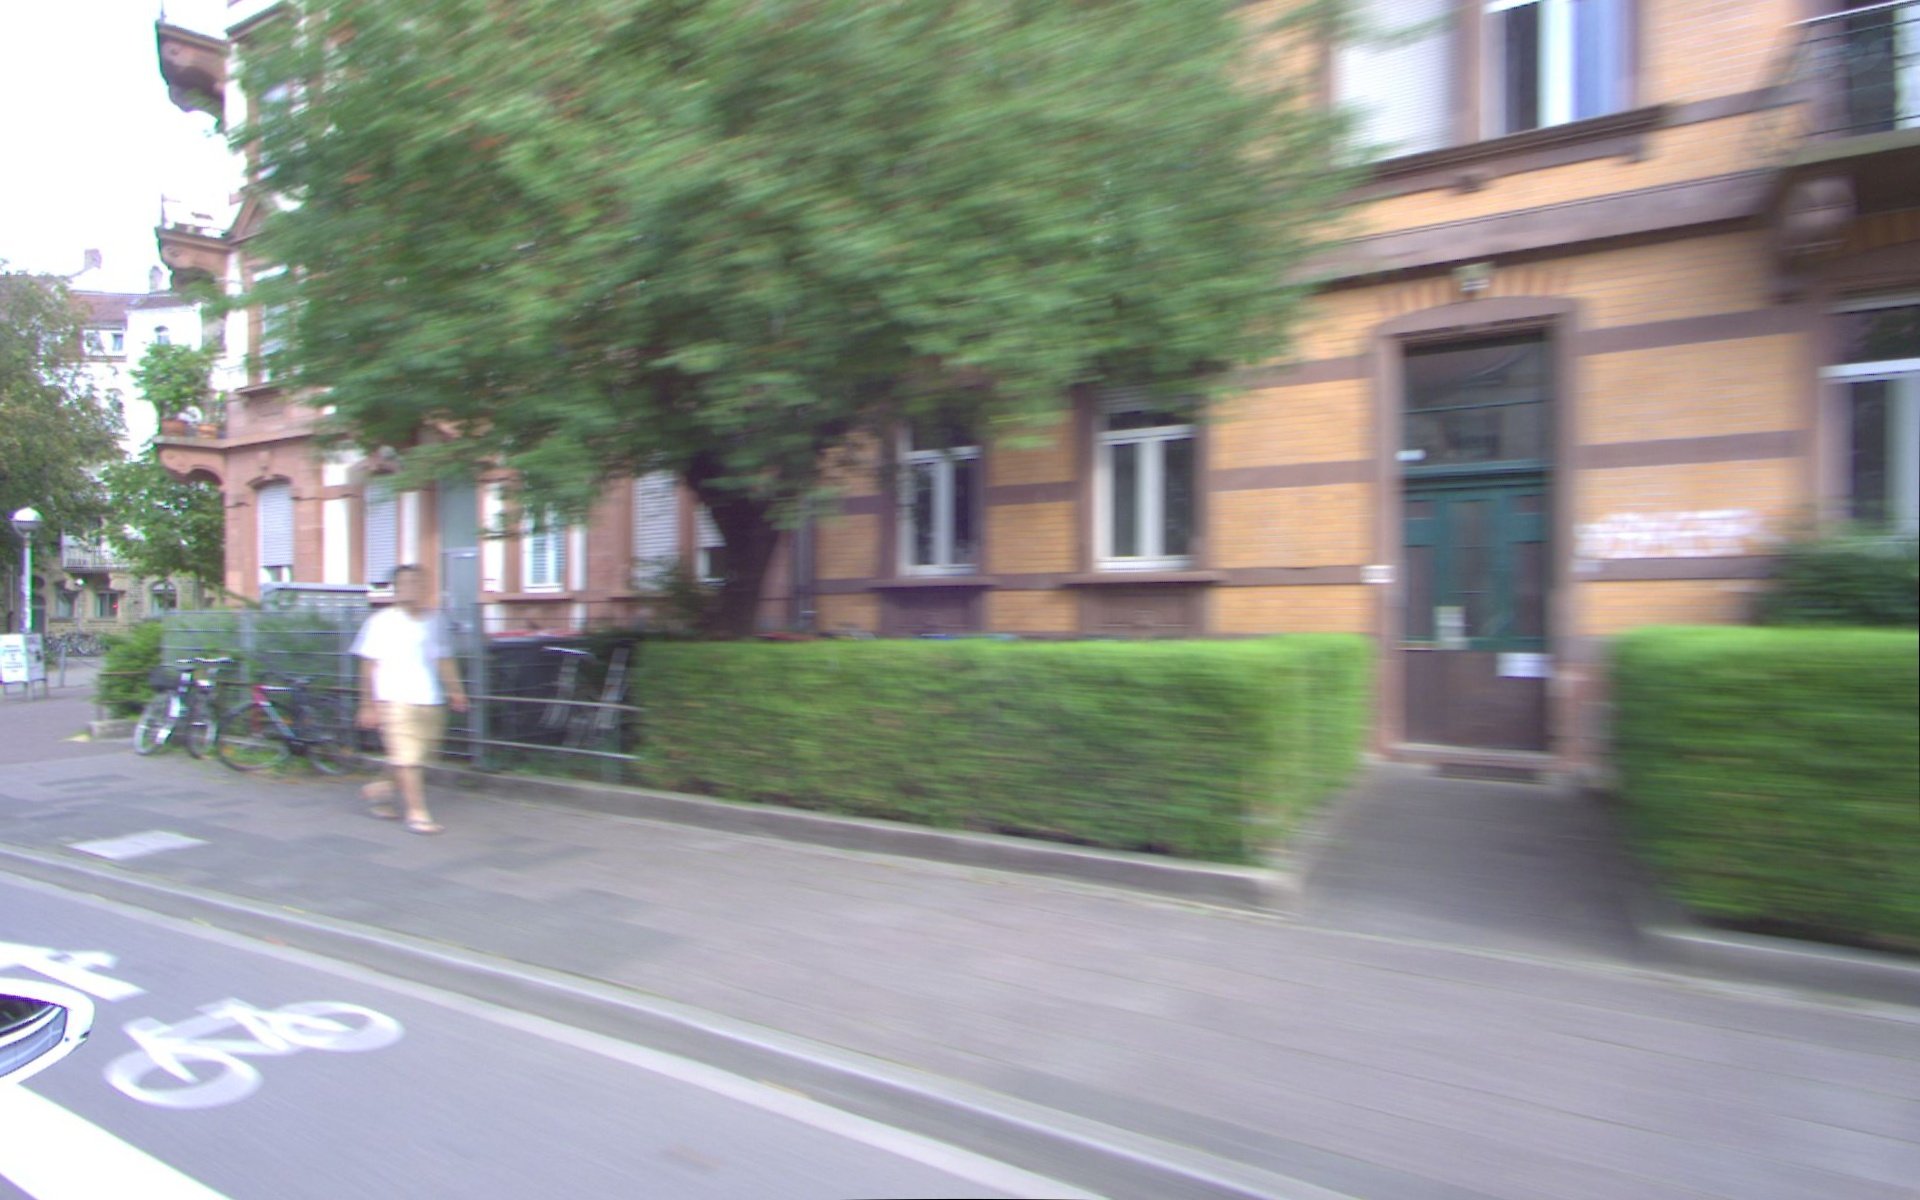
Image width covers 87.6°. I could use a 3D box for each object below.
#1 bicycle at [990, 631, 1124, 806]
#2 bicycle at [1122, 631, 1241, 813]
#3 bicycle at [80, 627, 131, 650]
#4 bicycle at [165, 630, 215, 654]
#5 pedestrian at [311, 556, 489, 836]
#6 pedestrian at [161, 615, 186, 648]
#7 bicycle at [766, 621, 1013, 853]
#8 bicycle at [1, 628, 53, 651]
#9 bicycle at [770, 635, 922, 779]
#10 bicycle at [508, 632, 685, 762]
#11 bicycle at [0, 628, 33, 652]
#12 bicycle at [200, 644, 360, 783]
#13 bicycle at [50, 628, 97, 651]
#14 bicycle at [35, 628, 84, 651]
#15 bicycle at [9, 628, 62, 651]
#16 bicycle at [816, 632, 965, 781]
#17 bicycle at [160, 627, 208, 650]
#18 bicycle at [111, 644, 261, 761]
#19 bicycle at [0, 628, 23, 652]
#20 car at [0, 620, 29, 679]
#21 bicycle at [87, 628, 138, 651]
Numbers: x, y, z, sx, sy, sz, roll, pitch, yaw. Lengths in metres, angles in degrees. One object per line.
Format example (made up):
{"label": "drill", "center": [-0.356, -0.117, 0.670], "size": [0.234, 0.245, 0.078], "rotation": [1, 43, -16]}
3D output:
{"label": "bicycle", "center": [0.793, 0.849, 7.783], "size": [0.509, 1.196, 1.544], "rotation": [0, -1, 27]}
{"label": "bicycle", "center": [1.702, 0.843, 7.528], "size": [0.509, 1.196, 1.544], "rotation": [0, -1, 27]}
{"label": "bicycle", "center": [-42.937, 1.928, 50.330], "size": [0.524, 1.142, 1.888], "rotation": [0, -1, 25]}
{"label": "bicycle", "center": [-37.352, 2.016, 48.604], "size": [0.525, 1.142, 1.883], "rotation": [0, -1, 34]}
{"label": "pedestrian", "center": [-3.865, 0.620, 6.913], "size": [0.936, 1.777, 0.729], "rotation": [0, 0, 33]}
{"label": "pedestrian", "center": [-41.013, 1.652, 52.202], "size": [0.821, 1.697, 0.731], "rotation": [0, 0, 22]}
{"label": "bicycle", "center": [-0.460, 0.786, 6.257], "size": [1.527, 1.299, 0.515], "rotation": [0, 0, 31]}
{"label": "bicycle", "center": [-47.367, 1.998, 50.856], "size": [0.553, 1.142, 1.890], "rotation": [0, -1, 20]}
{"label": "bicycle", "center": [-0.873, 0.803, 8.061], "size": [0.437, 1.022, 1.544], "rotation": [0, -1, 27]}
{"label": "bicycle", "center": [-3.152, 0.801, 8.824], "size": [0.502, 1.022, 1.544], "rotation": [0, -1, 27]}
{"label": "bicycle", "center": [-48.176, 2.033, 50.835], "size": [0.522, 1.143, 1.893], "rotation": [0, 0, -2]}
{"label": "bicycle", "center": [-6.086, 0.978, 8.953], "size": [1.526, 1.103, 0.507], "rotation": [0, 3, 29]}
{"label": "bicycle", "center": [-44.797, 2.000, 50.618], "size": [0.583, 1.142, 1.894], "rotation": [0, -1, 6]}
{"label": "bicycle", "center": [-45.594, 1.999, 50.716], "size": [0.571, 1.142, 1.893], "rotation": [0, -1, 12]}
{"label": "bicycle", "center": [-46.795, 1.994, 50.699], "size": [0.588, 1.142, 1.890], "rotation": [0, -1, 20]}
{"label": "bicycle", "center": [-0.500, 0.777, 7.851], "size": [0.437, 1.022, 1.544], "rotation": [0, -1, 27]}
{"label": "bicycle", "center": [-38.075, 1.876, 49.138], "size": [0.523, 1.142, 1.891], "rotation": [0, -1, 17]}
{"label": "bicycle", "center": [-8.226, 1.050, 10.628], "size": [1.646, 1.121, 0.670], "rotation": [0, 0, 29]}
{"label": "bicycle", "center": [-48.717, 2.038, 50.840], "size": [0.522, 1.143, 1.893], "rotation": [0, 0, -2]}
{"label": "car", "center": [-24.288, 1.191, 23.545], "size": [1.727, 1.460, 4.471], "rotation": [0, -1, -17]}
{"label": "bicycle", "center": [-42.394, 1.966, 50.122], "size": [0.524, 1.142, 1.888], "rotation": [0, -1, 25]}
